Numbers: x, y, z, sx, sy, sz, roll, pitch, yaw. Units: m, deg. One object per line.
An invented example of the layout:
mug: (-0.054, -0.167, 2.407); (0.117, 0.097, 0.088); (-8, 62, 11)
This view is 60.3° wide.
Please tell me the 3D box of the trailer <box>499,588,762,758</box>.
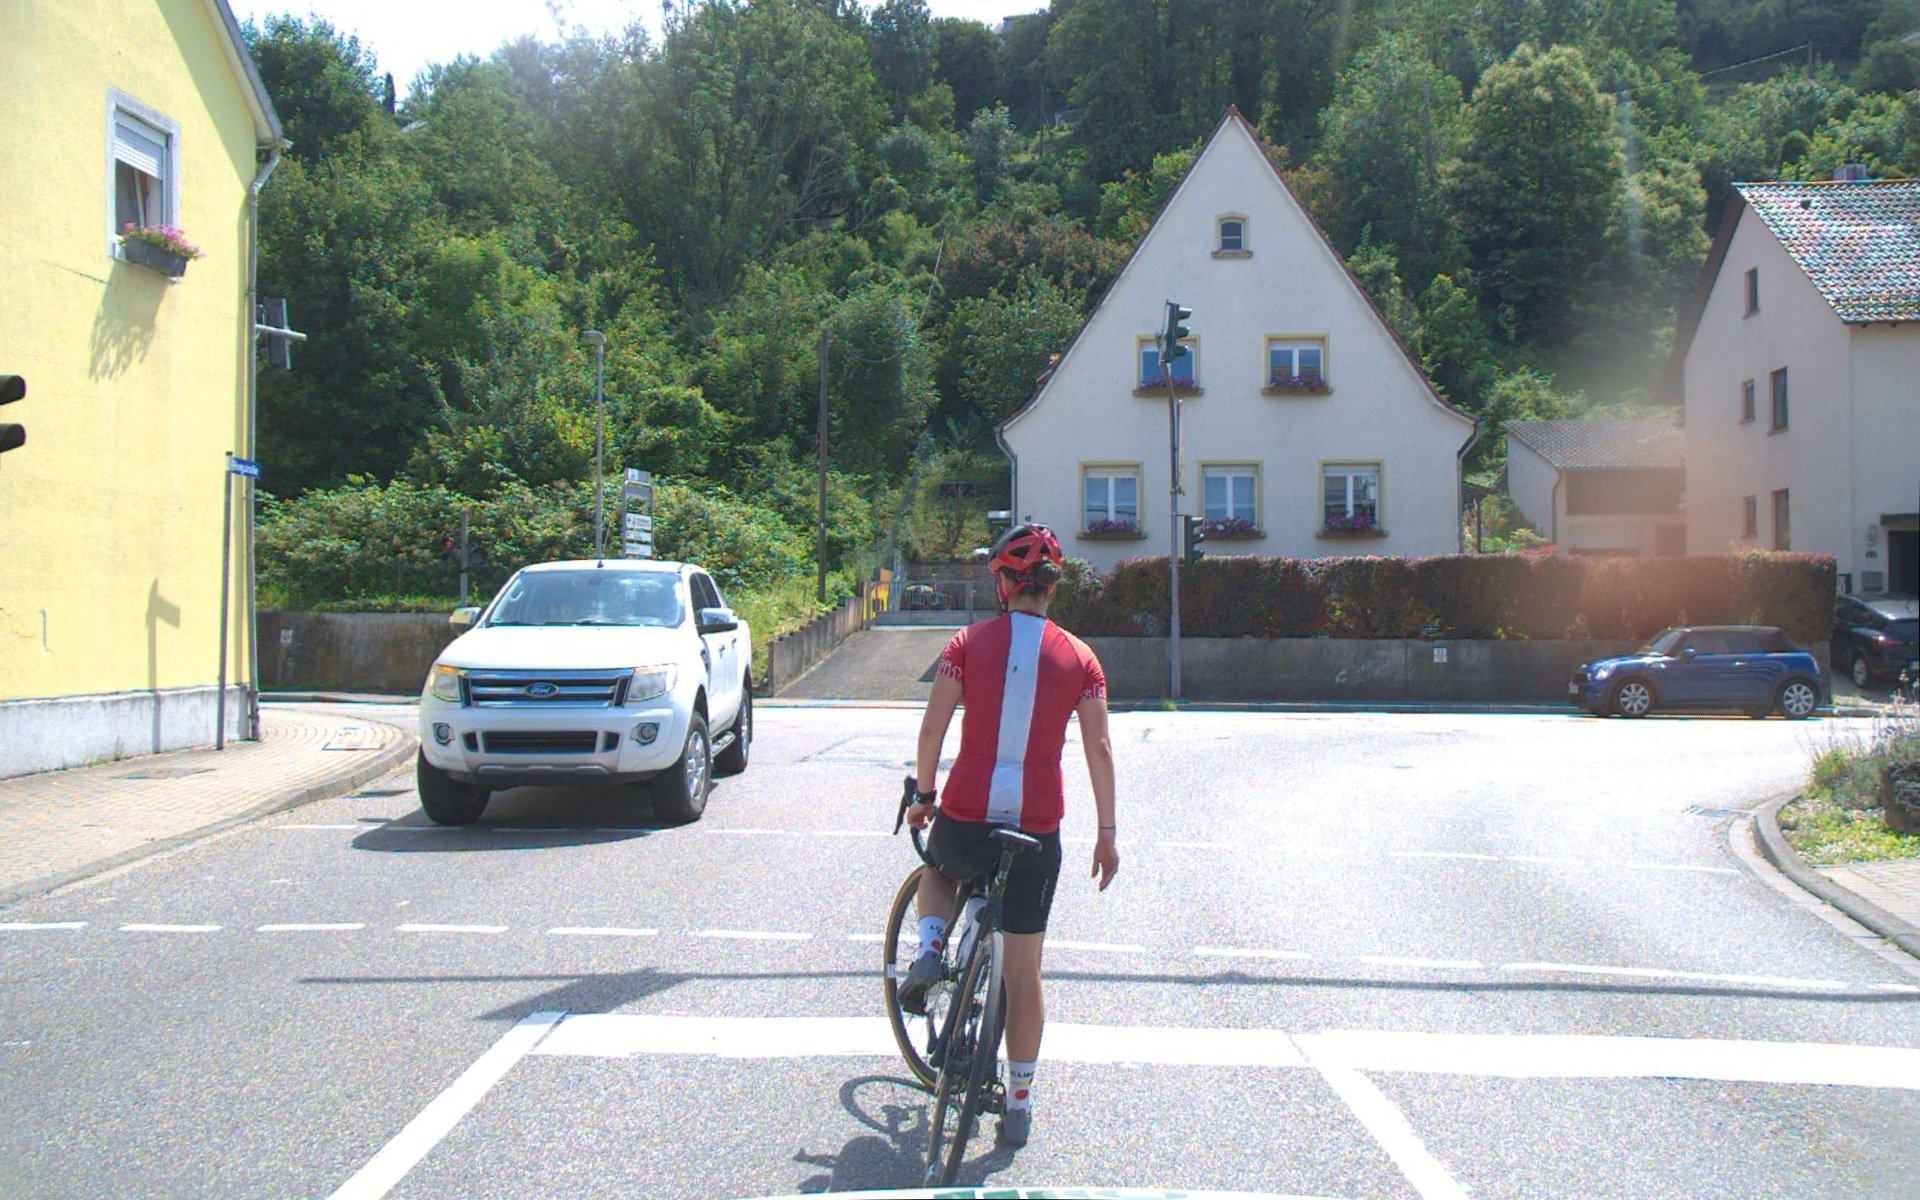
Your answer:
trailer: (-3.716, 0.703, 17.992); (1.946, 1.566, 4.413); (-1, 0, -23)

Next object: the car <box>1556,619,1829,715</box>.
car: (11.319, 1.053, 25.735); (3.533, 1.387, 1.645); (1, -3, 3)

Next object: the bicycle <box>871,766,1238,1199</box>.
bicycle: (0.175, 0.998, 4.496); (0.618, 0.920, 1.653); (1, 0, -10)

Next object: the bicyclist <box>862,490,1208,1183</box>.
bicyclist: (0.170, 0.586, 4.544); (0.747, 1.693, 0.866); (1, 0, -10)

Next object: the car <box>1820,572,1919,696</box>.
car: (17.325, 0.578, 30.765); (1.758, 1.411, 3.696); (0, 13, 19)

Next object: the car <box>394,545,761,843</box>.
car: (-2.694, 0.581, 12.955); (1.933, 1.807, 5.310); (-1, 0, -4)
